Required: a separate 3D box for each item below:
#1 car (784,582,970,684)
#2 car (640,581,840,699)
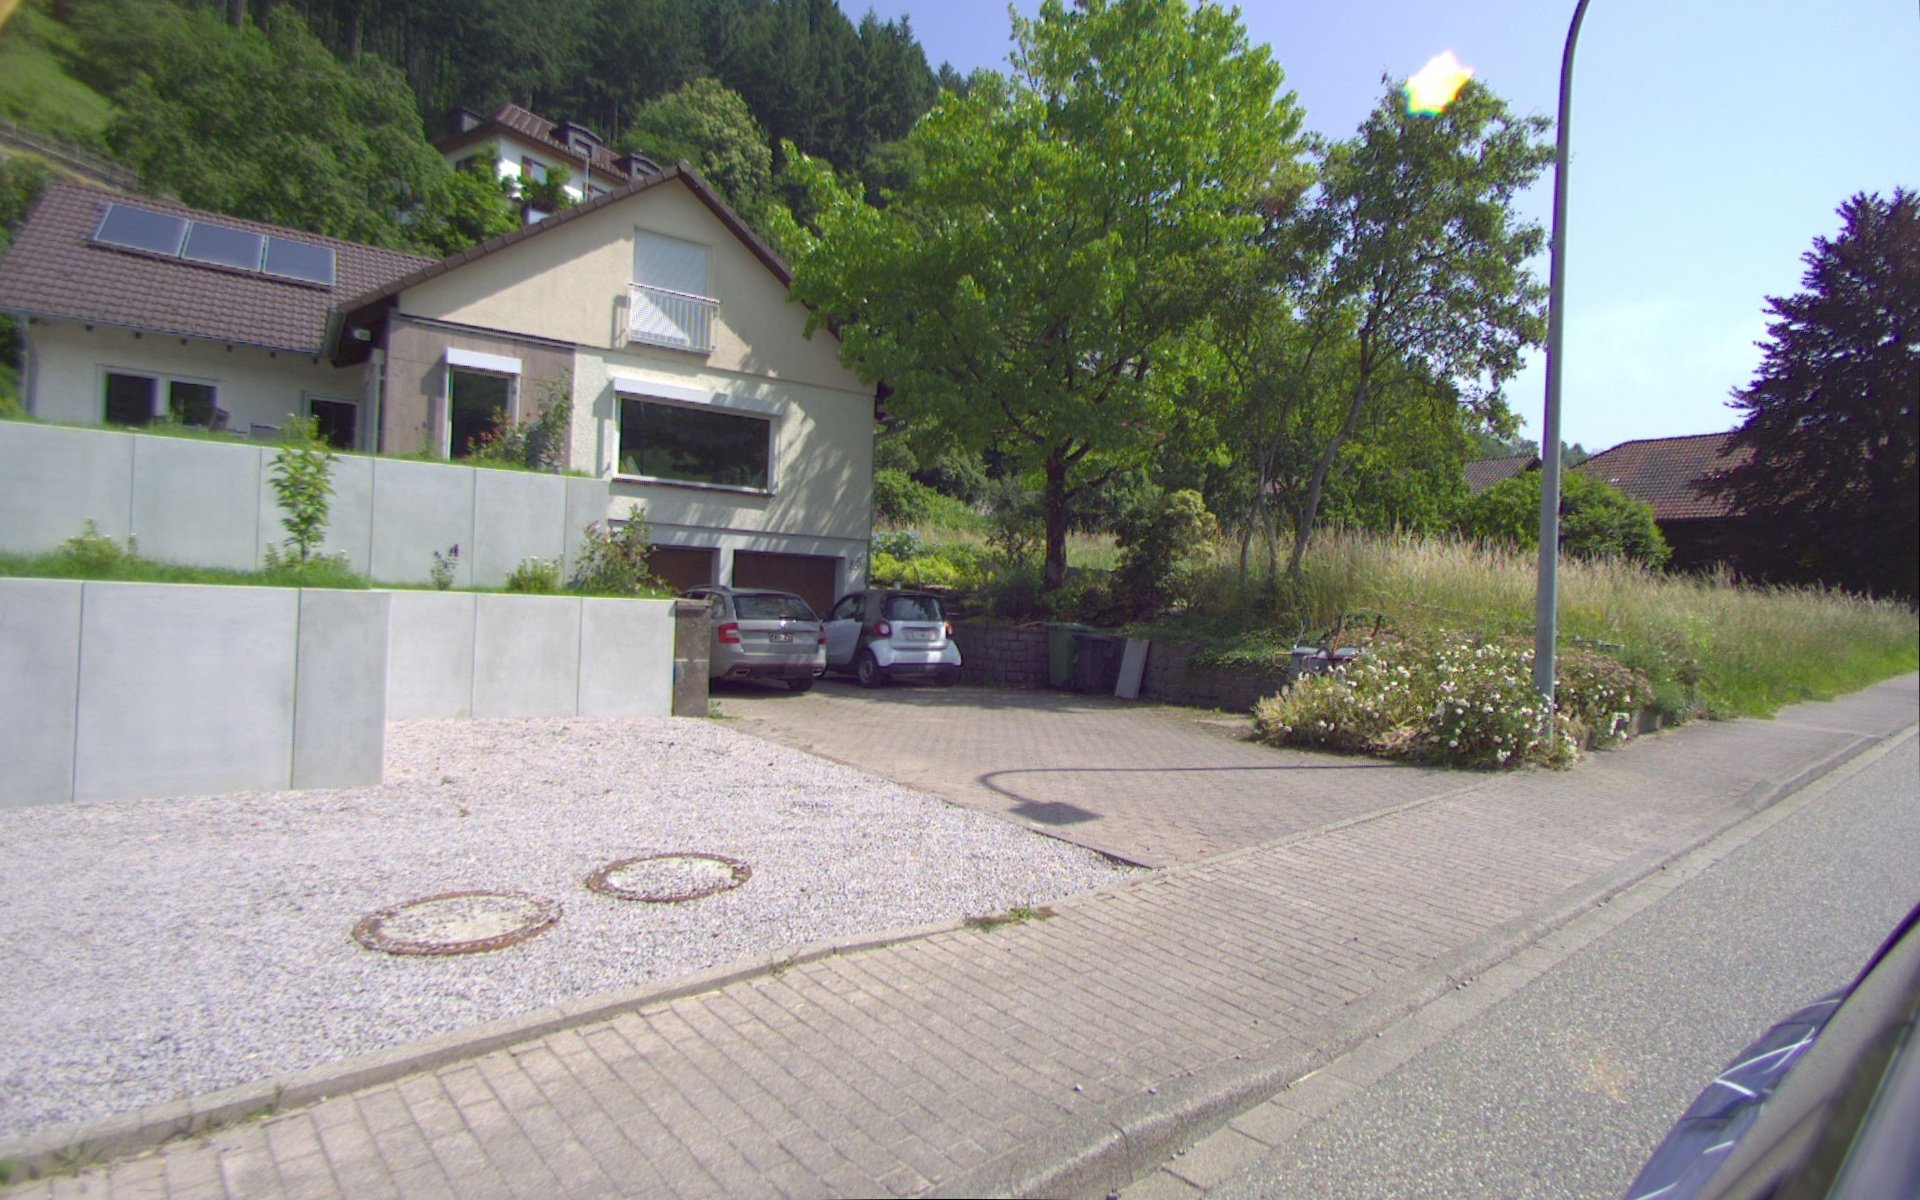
[{"bbox_3d":[-1.472,0.475,16.933,1.721,1.516,3.230,1,1,-35],"label":"car"},{"bbox_3d":[-3.340,0.480,14.848,1.689,1.489,3.749,0,1,-32],"label":"car"}]
